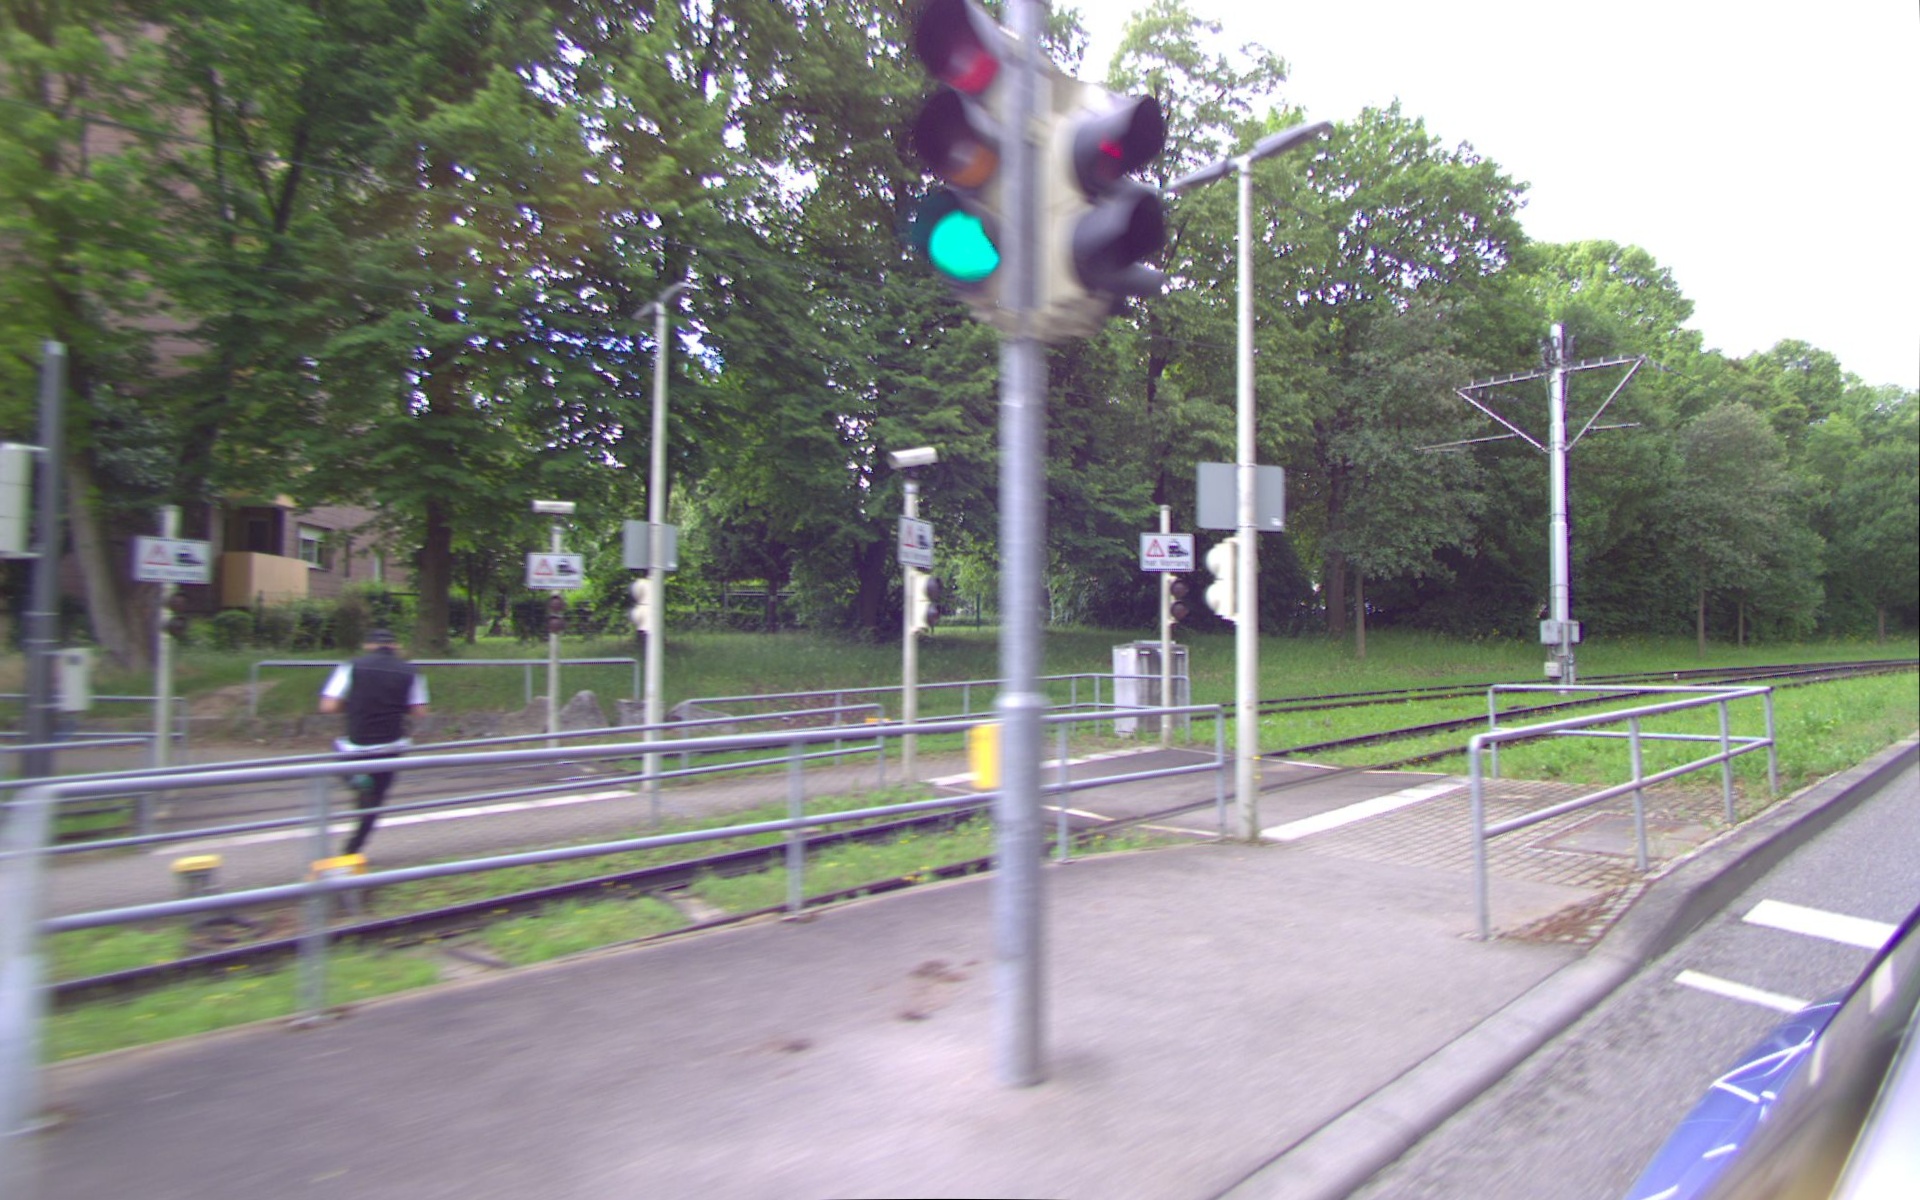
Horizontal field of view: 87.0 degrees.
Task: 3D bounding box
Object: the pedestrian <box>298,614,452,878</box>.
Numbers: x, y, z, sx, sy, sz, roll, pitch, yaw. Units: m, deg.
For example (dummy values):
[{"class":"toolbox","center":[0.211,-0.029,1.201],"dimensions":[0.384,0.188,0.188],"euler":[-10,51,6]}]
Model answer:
[{"class":"pedestrian","center":[-4.318,1.002,7.466],"dimensions":[0.983,1.781,0.718],"euler":[-3,-2,42]}]
